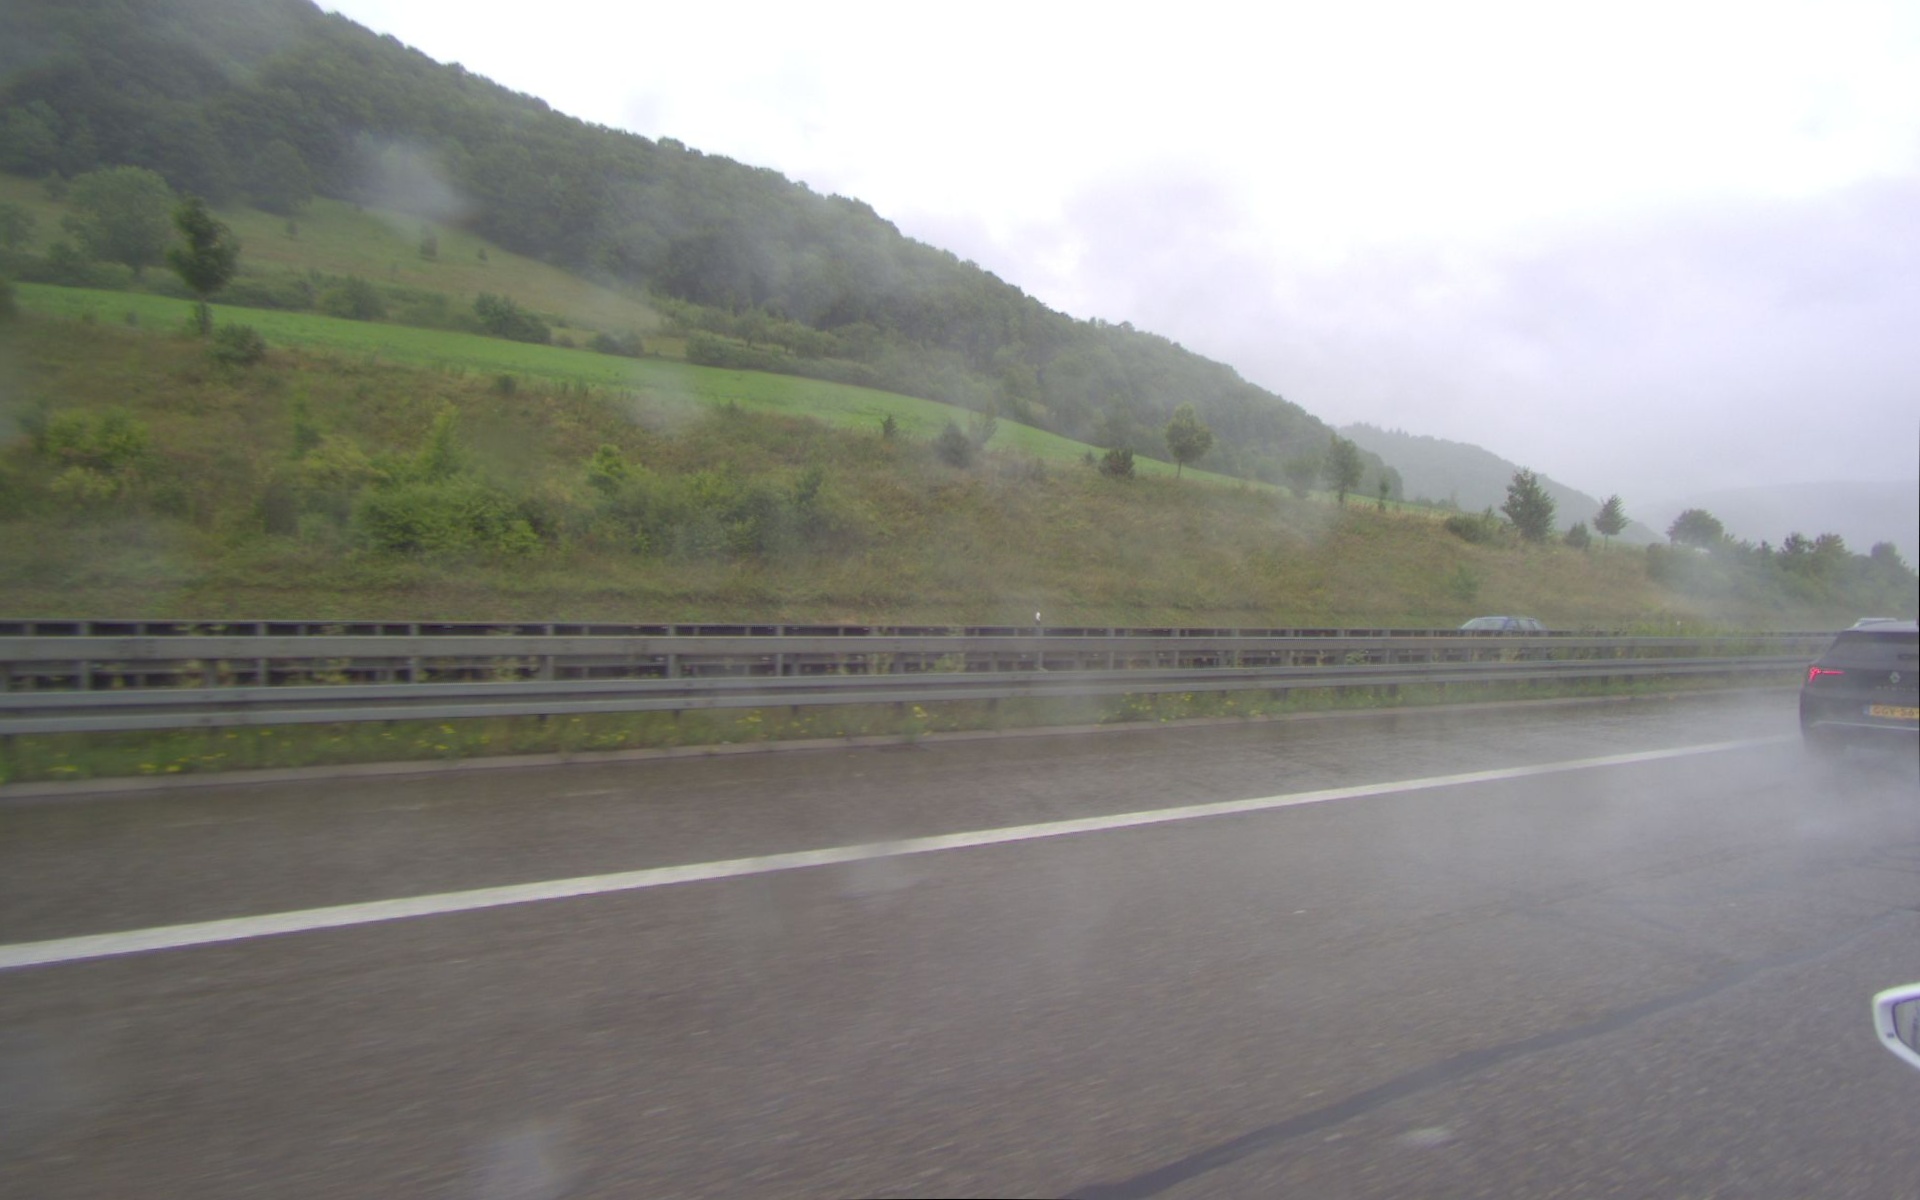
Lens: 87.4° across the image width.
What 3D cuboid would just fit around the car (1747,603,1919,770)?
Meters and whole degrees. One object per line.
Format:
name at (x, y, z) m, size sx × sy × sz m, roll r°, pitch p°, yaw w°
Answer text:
car at (10.831, 0.882, 11.183) m, size 4.746 × 1.536 × 2.385 m, roll 1°, pitch 1°, yaw -41°
